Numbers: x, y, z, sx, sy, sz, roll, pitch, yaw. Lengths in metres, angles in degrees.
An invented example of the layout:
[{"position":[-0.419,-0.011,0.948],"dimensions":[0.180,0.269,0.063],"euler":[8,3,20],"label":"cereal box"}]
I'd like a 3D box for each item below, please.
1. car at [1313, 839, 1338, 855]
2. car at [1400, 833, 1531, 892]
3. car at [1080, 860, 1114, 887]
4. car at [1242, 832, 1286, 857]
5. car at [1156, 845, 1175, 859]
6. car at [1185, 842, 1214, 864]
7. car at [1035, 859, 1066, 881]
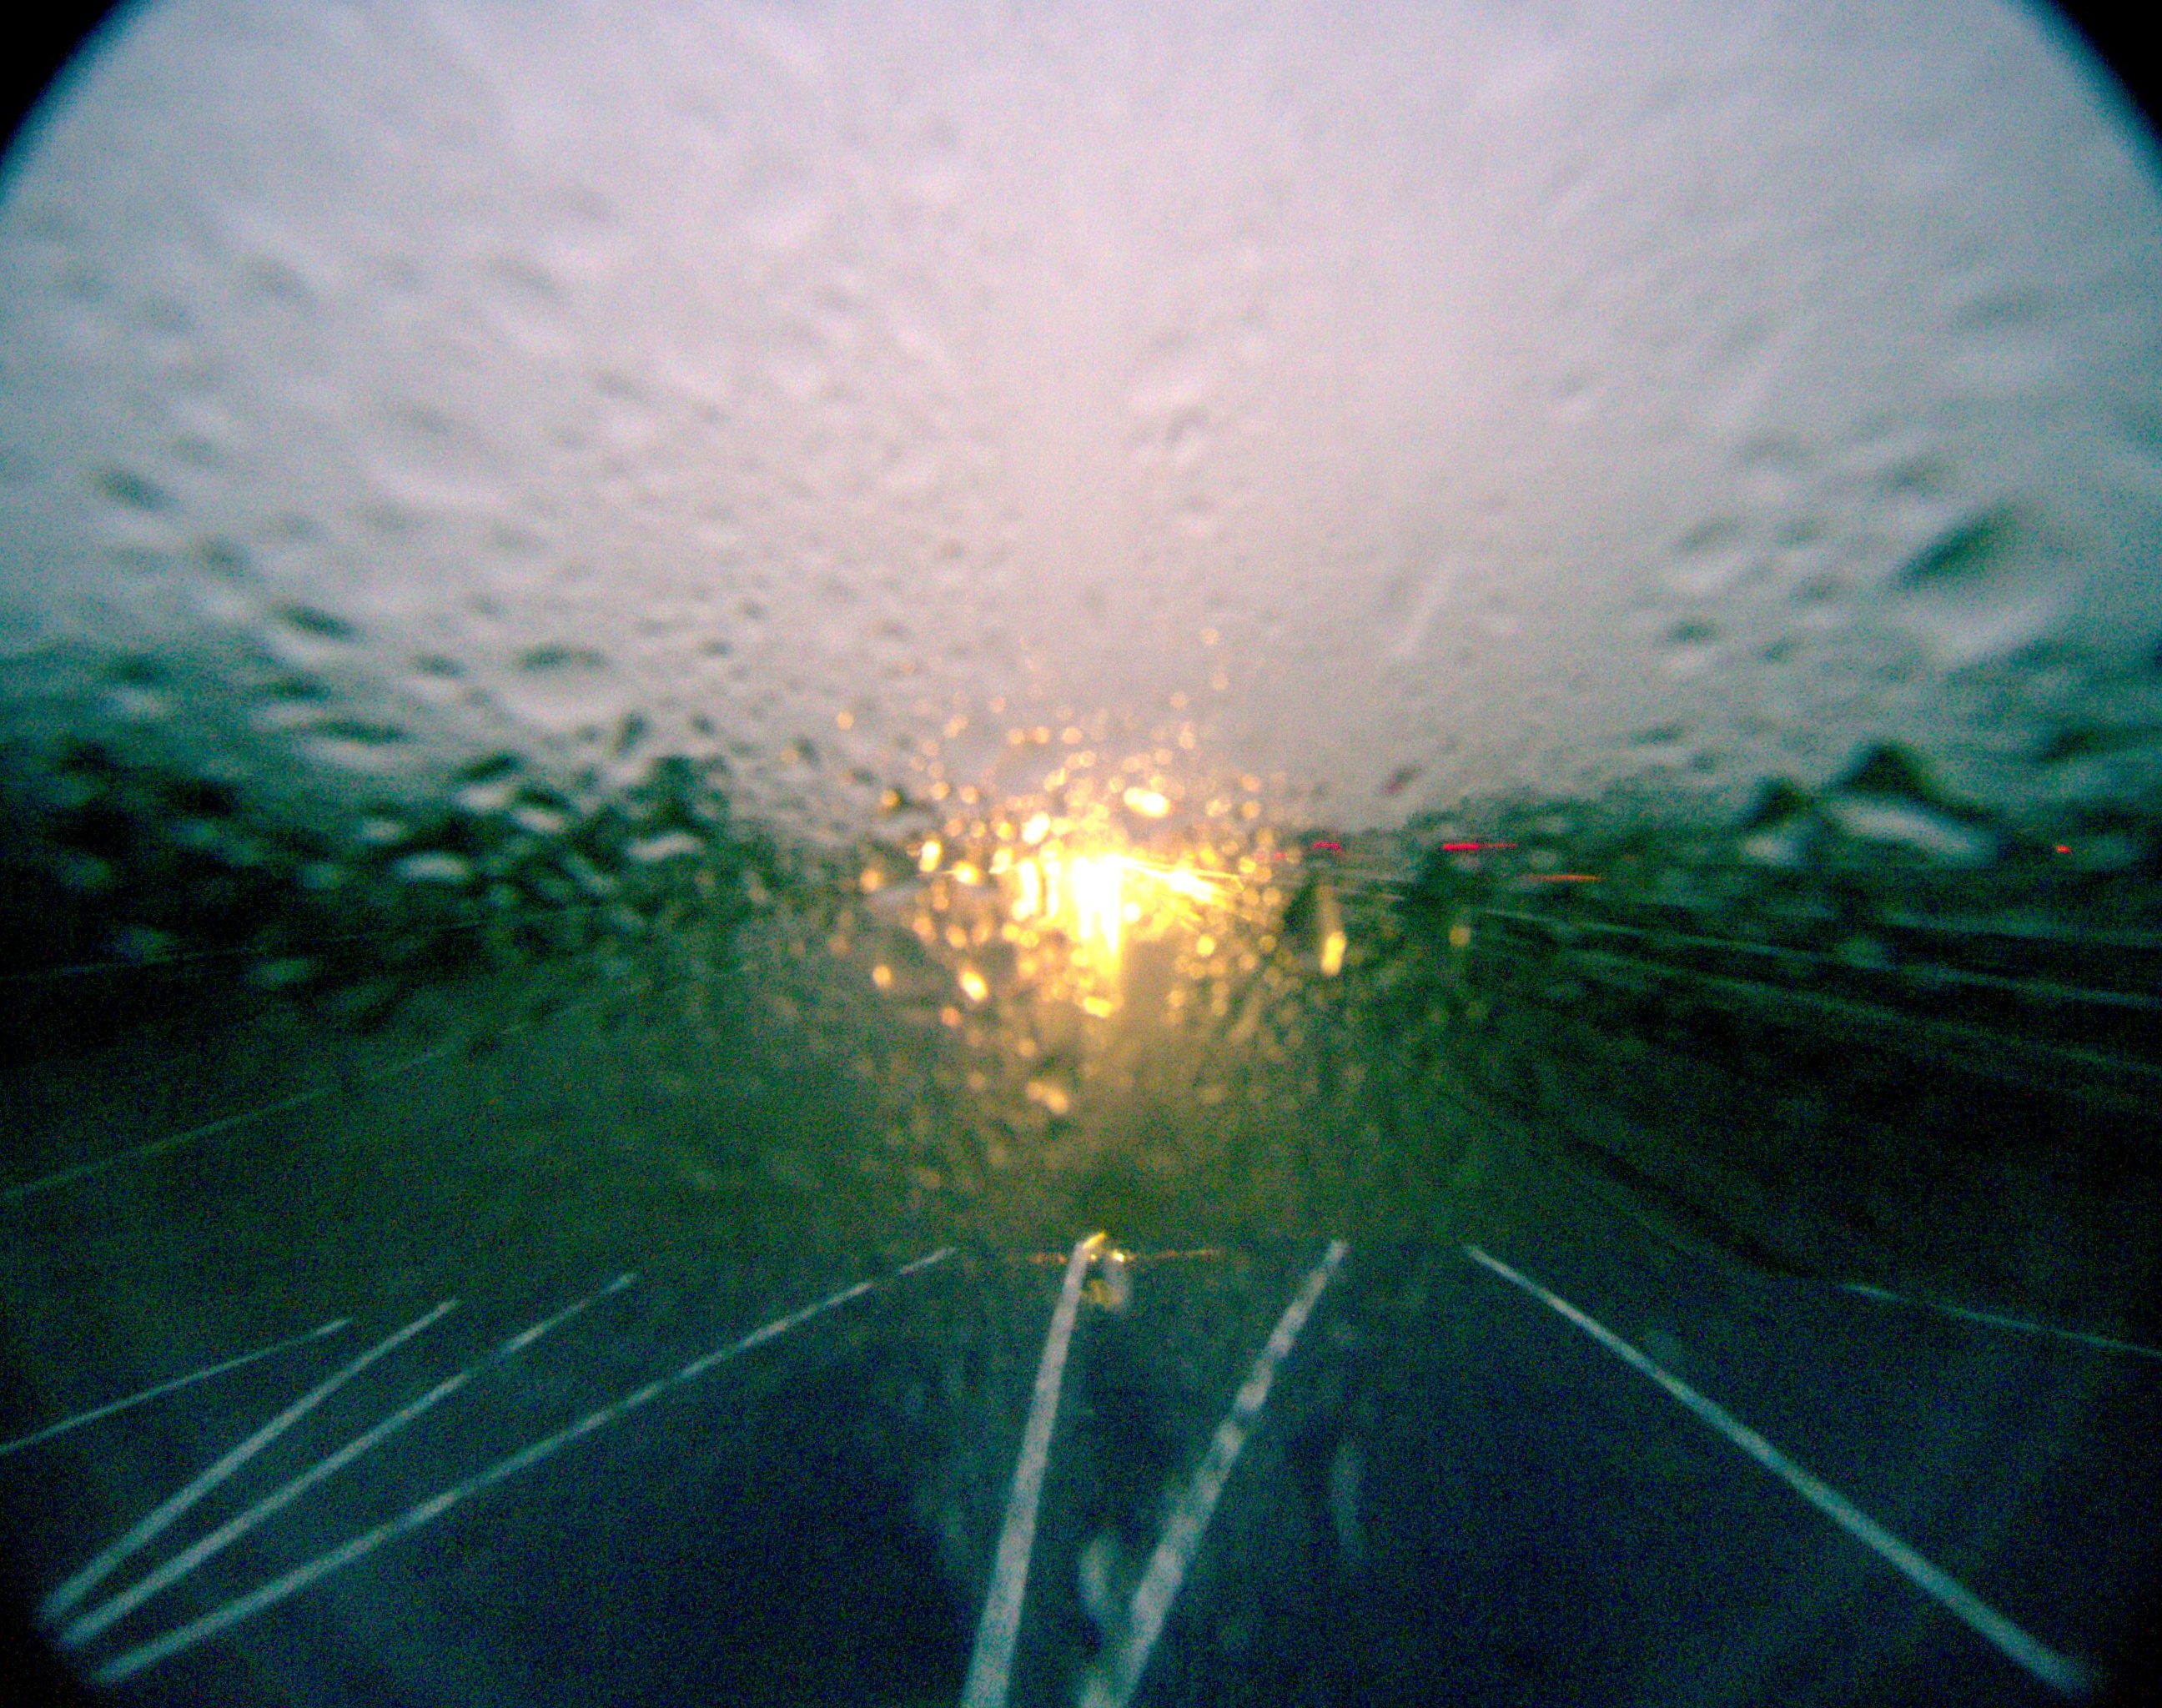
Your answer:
[{"position":[31.522,-0.921,98.176],"dimensions":[1.998,2.002,4.000],"euler":[-2,0,2],"label":"car"},{"position":[13.089,0.248,26.249],"dimensions":[2.075,1.781,4.847],"euler":[-2,1,1],"label":"car"},{"position":[0.975,1.149,45.276],"dimensions":[1.850,1.521,4.150],"euler":[-2,-1,2],"label":"car"},{"position":[12.925,-0.646,53.868],"dimensions":[1.989,1.542,4.392],"euler":[-1,-1,0],"label":"car"},{"position":[10.229,-0.235,92.228],"dimensions":[1.998,1.542,4.137],"euler":[-2,-1,2],"label":"car"},{"position":[8.819,-0.042,56.684],"dimensions":[1.821,1.542,4.471],"euler":[-2,-1,6],"label":"car"},{"position":[-2.218,1.154,55.885],"dimensions":[1.850,1.521,4.150],"euler":[-2,-1,3],"label":"car"}]
